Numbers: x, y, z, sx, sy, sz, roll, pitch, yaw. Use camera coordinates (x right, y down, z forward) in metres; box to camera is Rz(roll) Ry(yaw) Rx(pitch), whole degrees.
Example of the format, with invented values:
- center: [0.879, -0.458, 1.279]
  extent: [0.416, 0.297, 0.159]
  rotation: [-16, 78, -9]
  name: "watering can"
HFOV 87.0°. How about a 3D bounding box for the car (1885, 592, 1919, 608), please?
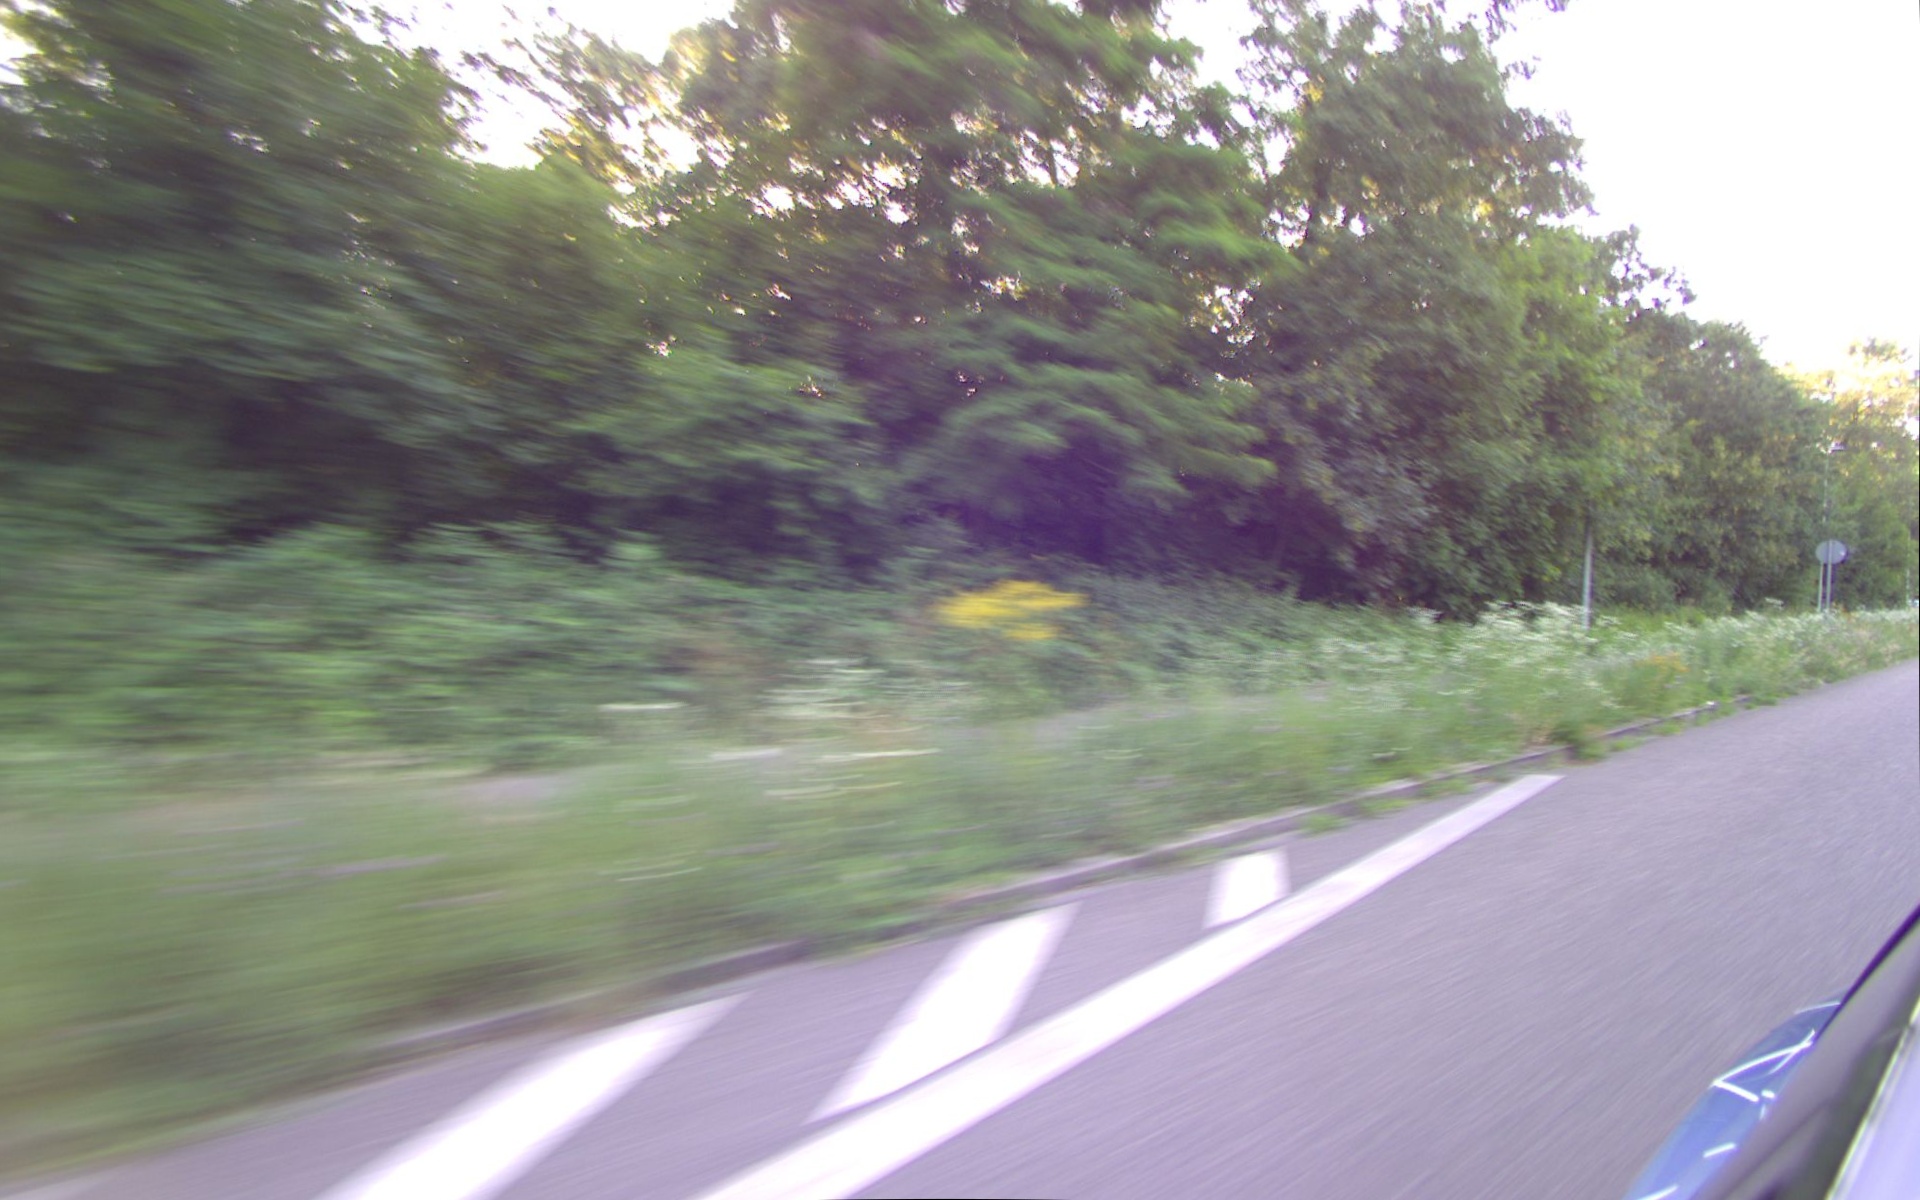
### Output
- center: [96.885, 0.031, 102.668]
  extent: [4.205, 1.474, 1.701]
  rotation: [2, 2, 34]
  name: "car"
